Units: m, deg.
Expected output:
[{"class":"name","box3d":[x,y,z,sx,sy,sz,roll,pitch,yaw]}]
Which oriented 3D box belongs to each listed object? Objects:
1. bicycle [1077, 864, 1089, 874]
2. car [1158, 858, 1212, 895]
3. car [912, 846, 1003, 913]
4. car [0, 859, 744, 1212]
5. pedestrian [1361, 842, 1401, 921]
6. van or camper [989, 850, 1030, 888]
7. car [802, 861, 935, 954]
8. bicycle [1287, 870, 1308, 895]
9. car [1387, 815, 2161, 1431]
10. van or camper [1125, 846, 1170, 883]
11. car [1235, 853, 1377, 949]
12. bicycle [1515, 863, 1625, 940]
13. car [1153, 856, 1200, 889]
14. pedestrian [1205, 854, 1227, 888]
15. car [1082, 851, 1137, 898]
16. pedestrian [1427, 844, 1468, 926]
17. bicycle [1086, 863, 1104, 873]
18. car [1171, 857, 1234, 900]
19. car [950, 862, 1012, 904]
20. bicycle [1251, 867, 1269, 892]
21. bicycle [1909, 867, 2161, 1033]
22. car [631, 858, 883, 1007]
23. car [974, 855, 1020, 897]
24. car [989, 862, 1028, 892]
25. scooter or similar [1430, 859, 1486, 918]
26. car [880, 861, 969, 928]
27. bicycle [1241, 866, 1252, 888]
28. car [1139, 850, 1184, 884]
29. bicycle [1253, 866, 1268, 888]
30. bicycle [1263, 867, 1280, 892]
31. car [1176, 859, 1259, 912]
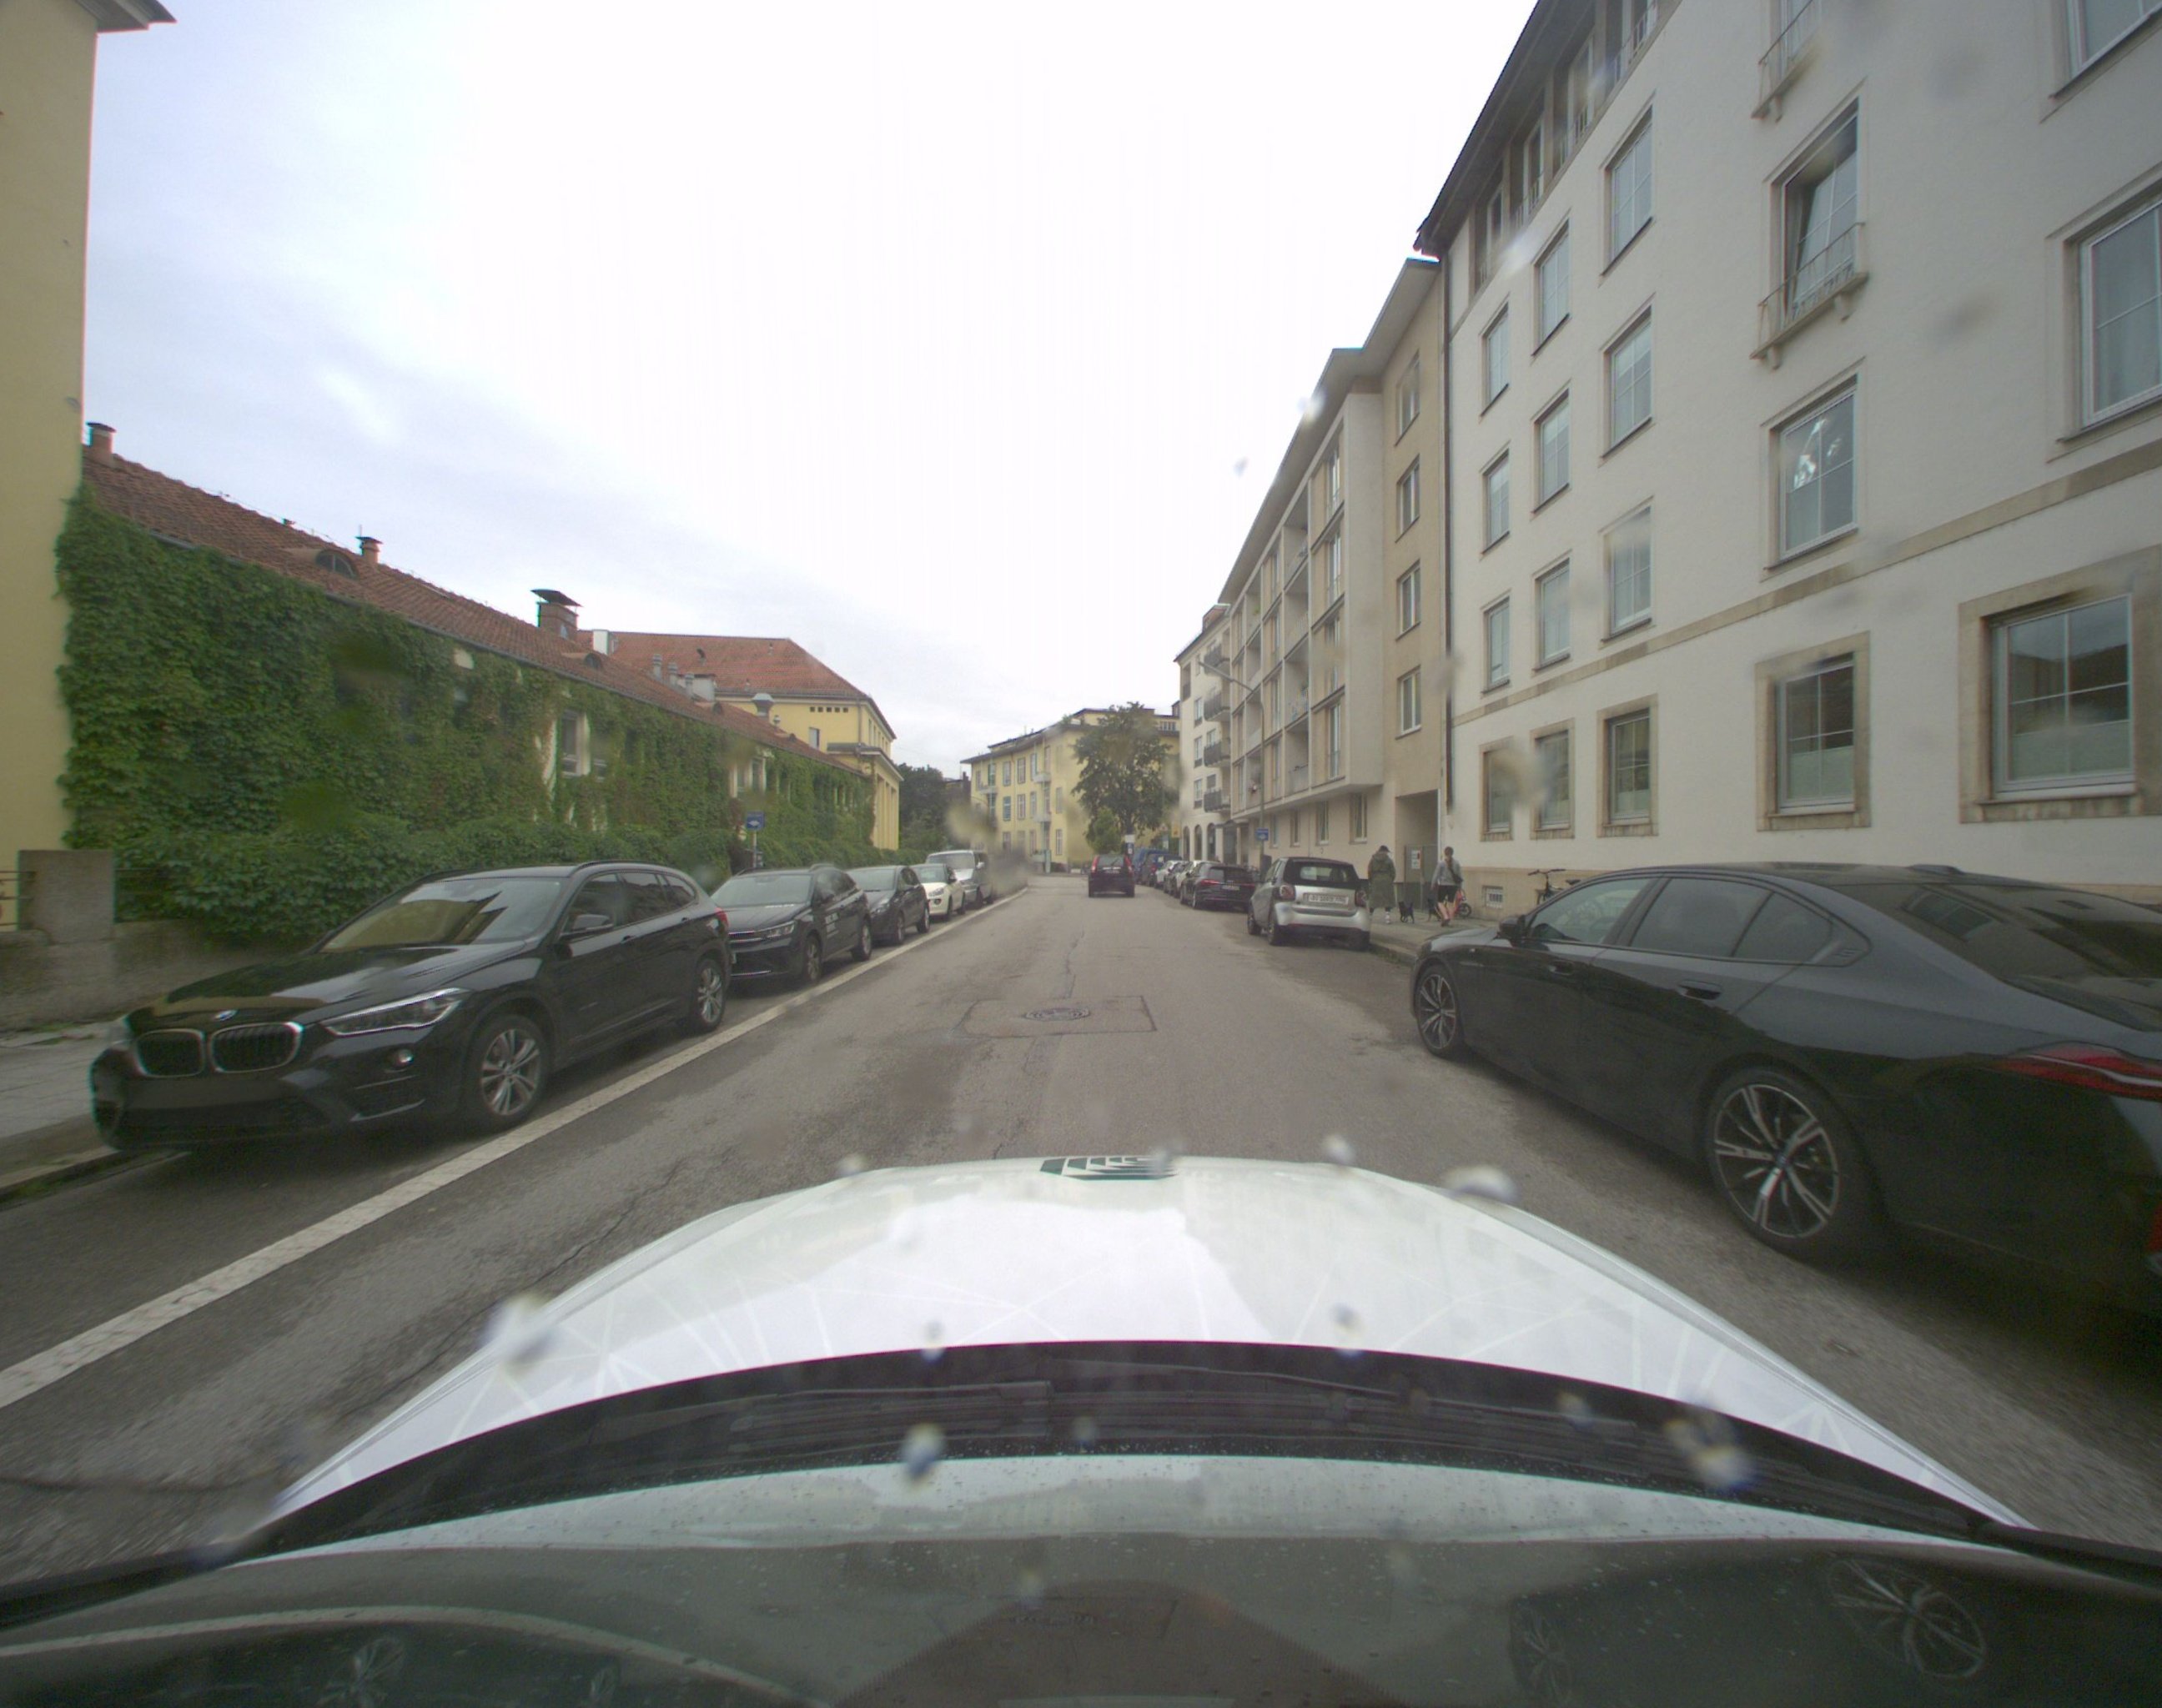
[{"class":"bicycle","box3d":[0.209,1.659,92.388,0.611,1.072,2.200,-1,0,-23]},{"class":"car","box3d":[4.554,0.948,36.161,1.734,1.499,4.494,-2,0,-1]},{"class":"car","box3d":[-3.922,0.782,26.633,1.986,1.875,4.760,-4,0,2]},{"class":"car","box3d":[-4.268,0.874,6.001,1.777,1.538,4.193,-4,0,-1]},{"class":"pedestrian","box3d":[6.510,0.588,17.719,0.594,1.654,0.630,-2,0,1]},{"class":"van or camper","box3d":[-4.107,0.818,47.252,1.955,2.065,4.751,-2,0,-1]},{"class":"car","box3d":[-4.039,0.944,16.087,1.574,1.455,3.903,-4,0,-1]},{"class":"bicycle","box3d":[8.626,1.111,32.446,0.443,0.936,1.401,-2,0,1]},{"class":"car","box3d":[3.529,0.698,4.473,1.850,1.544,4.815,2,0,0]},{"class":"van or camper","box3d":[4.220,0.650,52.605,2.057,2.231,5.429,-1,0,-5]},{"class":"car","box3d":[4.109,0.777,15.501,1.665,1.535,3.882,2,0,1]},{"class":"bicycle","box3d":[8.184,0.759,13.742,0.656,1.163,2.028,-1,0,1]},{"class":"car","box3d":[4.775,0.882,41.403,1.734,1.537,4.270,-1,0,-2]},{"class":"pedestrian","box3d":[6.797,0.841,41.038,0.895,1.687,1.319,-1,-1,-1]},{"class":"car","box3d":[1.203,0.779,32.926,1.987,1.694,4.384,-2,0,3]},{"class":"pedestrian","box3d":[7.255,0.602,16.134,0.529,1.584,0.560,-2,0,1]},{"class":"bicycle","box3d":[1.555,1.539,90.277,2.189,1.117,0.614,-1,-1,42]},{"class":"car","box3d":[4.560,0.867,31.008,1.734,1.499,4.218,0,0,-1]},{"class":"car","box3d":[-3.890,1.104,32.294,1.695,1.422,4.426,-4,0,2]},{"class":"bicycle","box3d":[7.794,1.095,35.541,0.481,1.024,1.401,-2,0,1]},{"class":"bicycle","box3d":[7.951,0.689,6.488,0.656,1.126,2.028,-1,0,1]},{"class":"car","box3d":[-4.158,0.899,11.269,1.776,1.538,4.147,-4,0,-1]},{"class":"car","box3d":[-3.790,0.961,37.486,1.614,1.730,4.424,-2,0,0]},{"class":"car","box3d":[-3.740,1.172,42.620,1.614,1.378,4.071,-3,0,0]},{"class":"scooter or similar","box3d":[8.379,0.774,18.125,0.598,1.252,1.036,-2,-4,-7]},{"class":"car","box3d":[-4.018,0.997,21.442,1.574,1.492,3.728,-3,0,-1]},{"class":"bicycle","box3d":[8.190,1.141,40.255,0.421,1.024,1.201,-2,0,8]},{"class":"car","box3d":[4.547,0.721,46.876,1.959,1.816,4.933,-1,0,-1]},{"class":"bicycle","box3d":[8.514,1.079,38.575,0.388,1.024,1.401,-2,0,1]},{"class":"bicycle","box3d":[8.301,1.092,35.527,0.388,1.024,1.401,-2,0,1]},{"class":"car","box3d":[4.170,0.917,25.575,1.790,1.420,4.481,2,0,-1]}]
